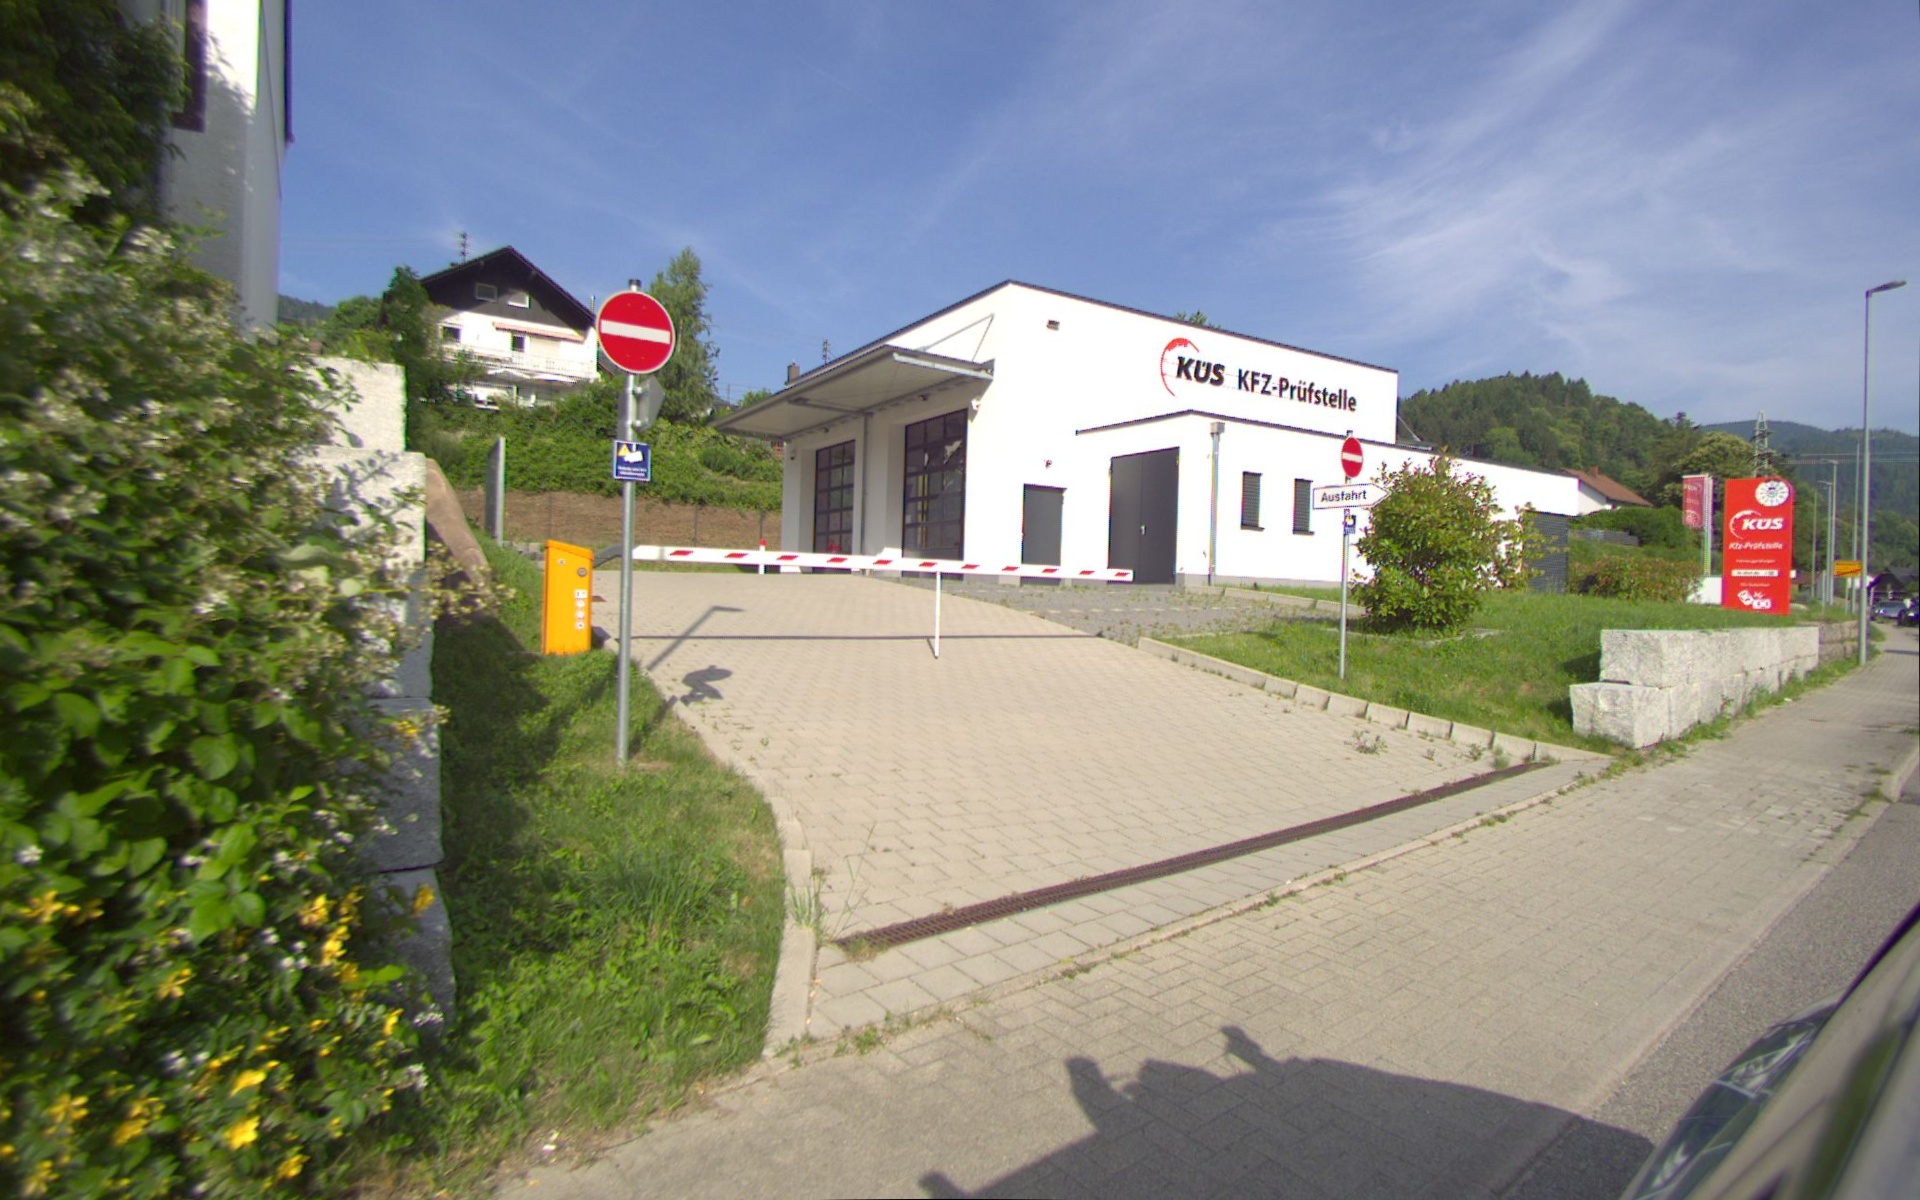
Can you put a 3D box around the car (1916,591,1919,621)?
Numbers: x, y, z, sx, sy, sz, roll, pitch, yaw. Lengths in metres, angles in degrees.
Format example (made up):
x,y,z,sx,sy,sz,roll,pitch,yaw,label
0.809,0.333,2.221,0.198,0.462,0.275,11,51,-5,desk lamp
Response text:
x,y,z,sx,sy,sz,roll,pitch,yaw,label
55.377,0.360,57.307,1.607,1.652,3.765,1,0,40,car
